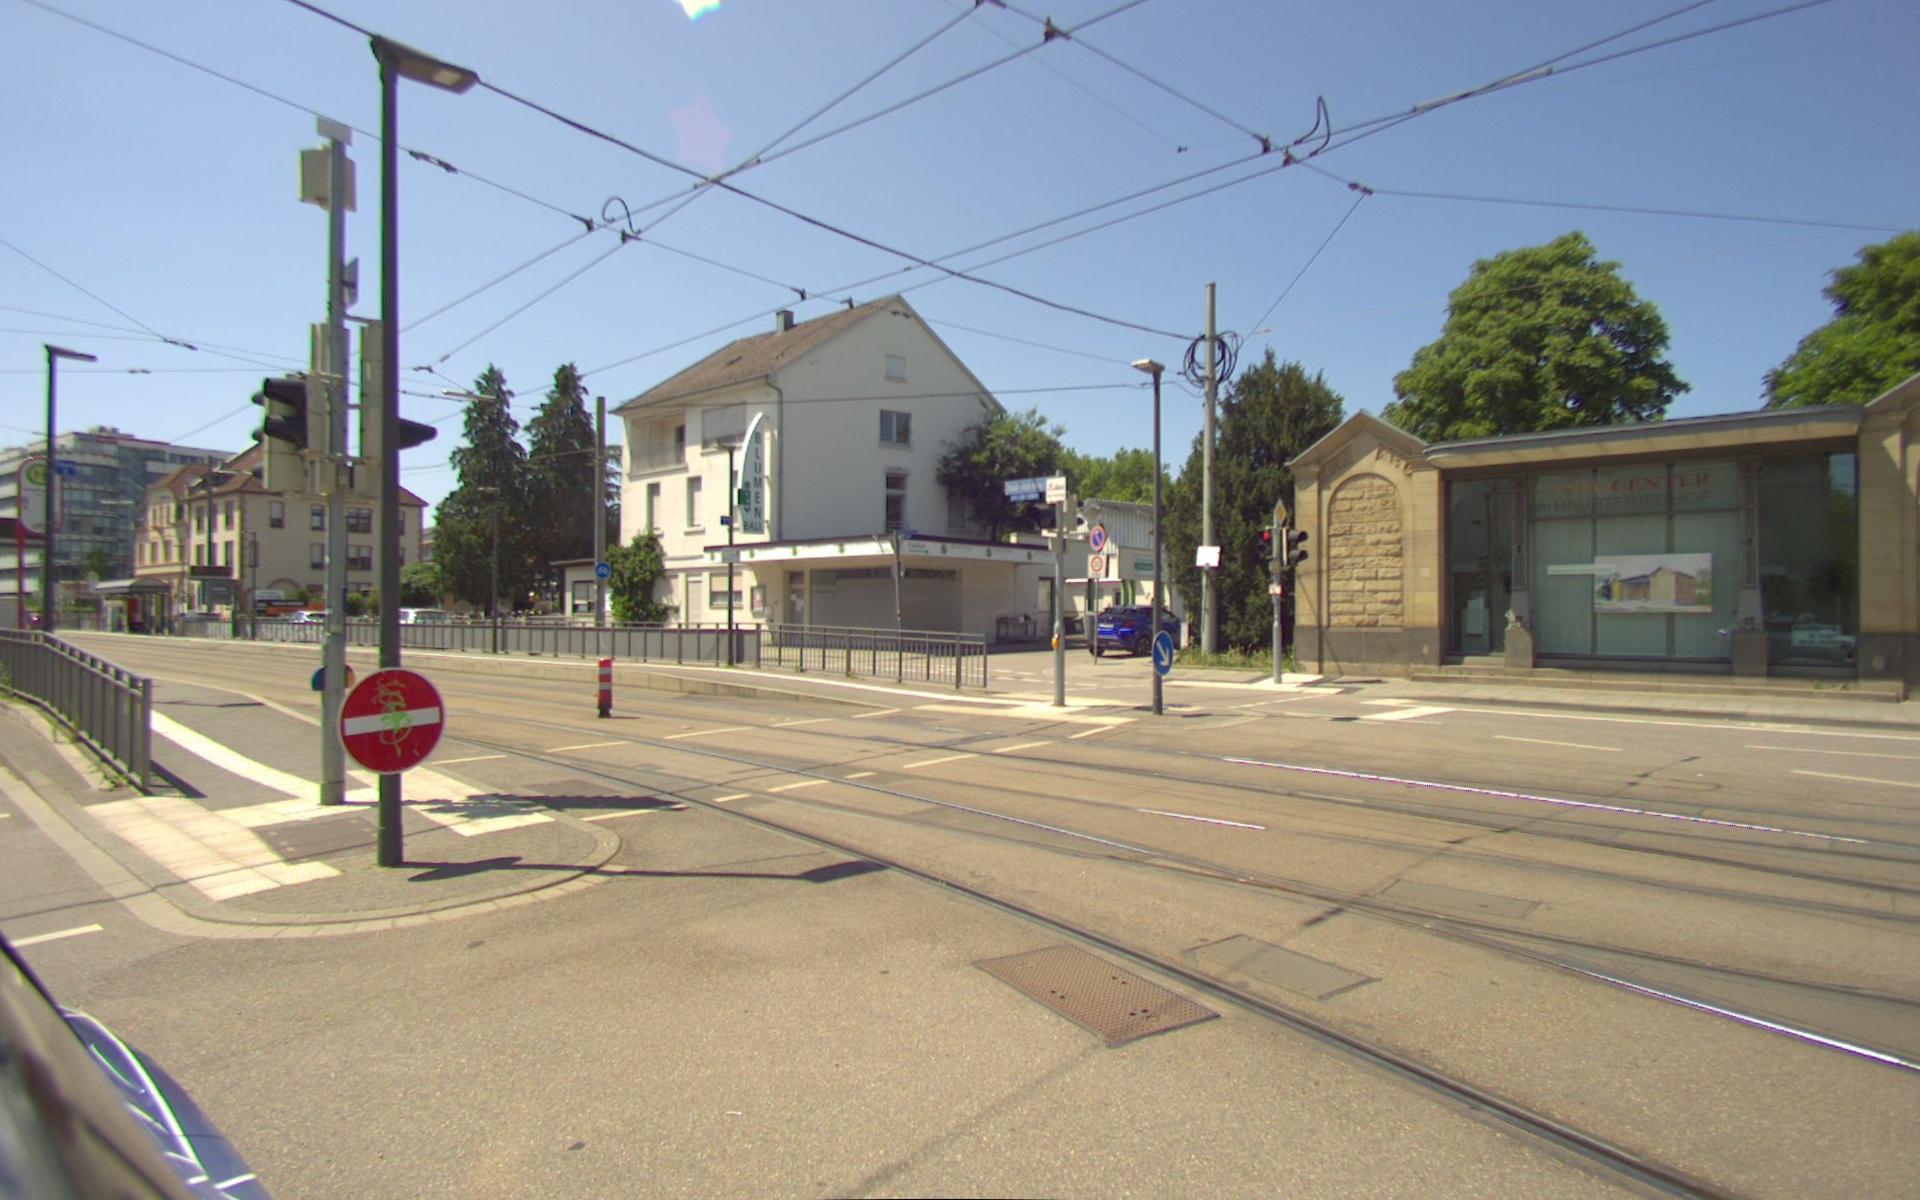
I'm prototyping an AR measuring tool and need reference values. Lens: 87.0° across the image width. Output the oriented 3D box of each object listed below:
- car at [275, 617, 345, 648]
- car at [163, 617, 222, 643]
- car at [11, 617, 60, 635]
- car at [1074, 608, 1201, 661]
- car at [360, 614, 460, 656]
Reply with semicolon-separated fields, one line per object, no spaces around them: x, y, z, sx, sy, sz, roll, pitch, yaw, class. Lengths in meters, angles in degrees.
-30.680;1.513;47.715;4.050;1.373;1.798;-1;-1;42;car
-46.166;1.791;60.844;4.473;1.453;1.838;-1;-1;39;car
-75.758;2.138;82.919;4.160;1.406;1.805;-1;-1;31;car
5.342;0.986;30.141;1.825;1.463;3.900;-1;-1;45;car
-20.950;1.277;38.487;4.494;1.501;1.800;-1;-1;39;car
